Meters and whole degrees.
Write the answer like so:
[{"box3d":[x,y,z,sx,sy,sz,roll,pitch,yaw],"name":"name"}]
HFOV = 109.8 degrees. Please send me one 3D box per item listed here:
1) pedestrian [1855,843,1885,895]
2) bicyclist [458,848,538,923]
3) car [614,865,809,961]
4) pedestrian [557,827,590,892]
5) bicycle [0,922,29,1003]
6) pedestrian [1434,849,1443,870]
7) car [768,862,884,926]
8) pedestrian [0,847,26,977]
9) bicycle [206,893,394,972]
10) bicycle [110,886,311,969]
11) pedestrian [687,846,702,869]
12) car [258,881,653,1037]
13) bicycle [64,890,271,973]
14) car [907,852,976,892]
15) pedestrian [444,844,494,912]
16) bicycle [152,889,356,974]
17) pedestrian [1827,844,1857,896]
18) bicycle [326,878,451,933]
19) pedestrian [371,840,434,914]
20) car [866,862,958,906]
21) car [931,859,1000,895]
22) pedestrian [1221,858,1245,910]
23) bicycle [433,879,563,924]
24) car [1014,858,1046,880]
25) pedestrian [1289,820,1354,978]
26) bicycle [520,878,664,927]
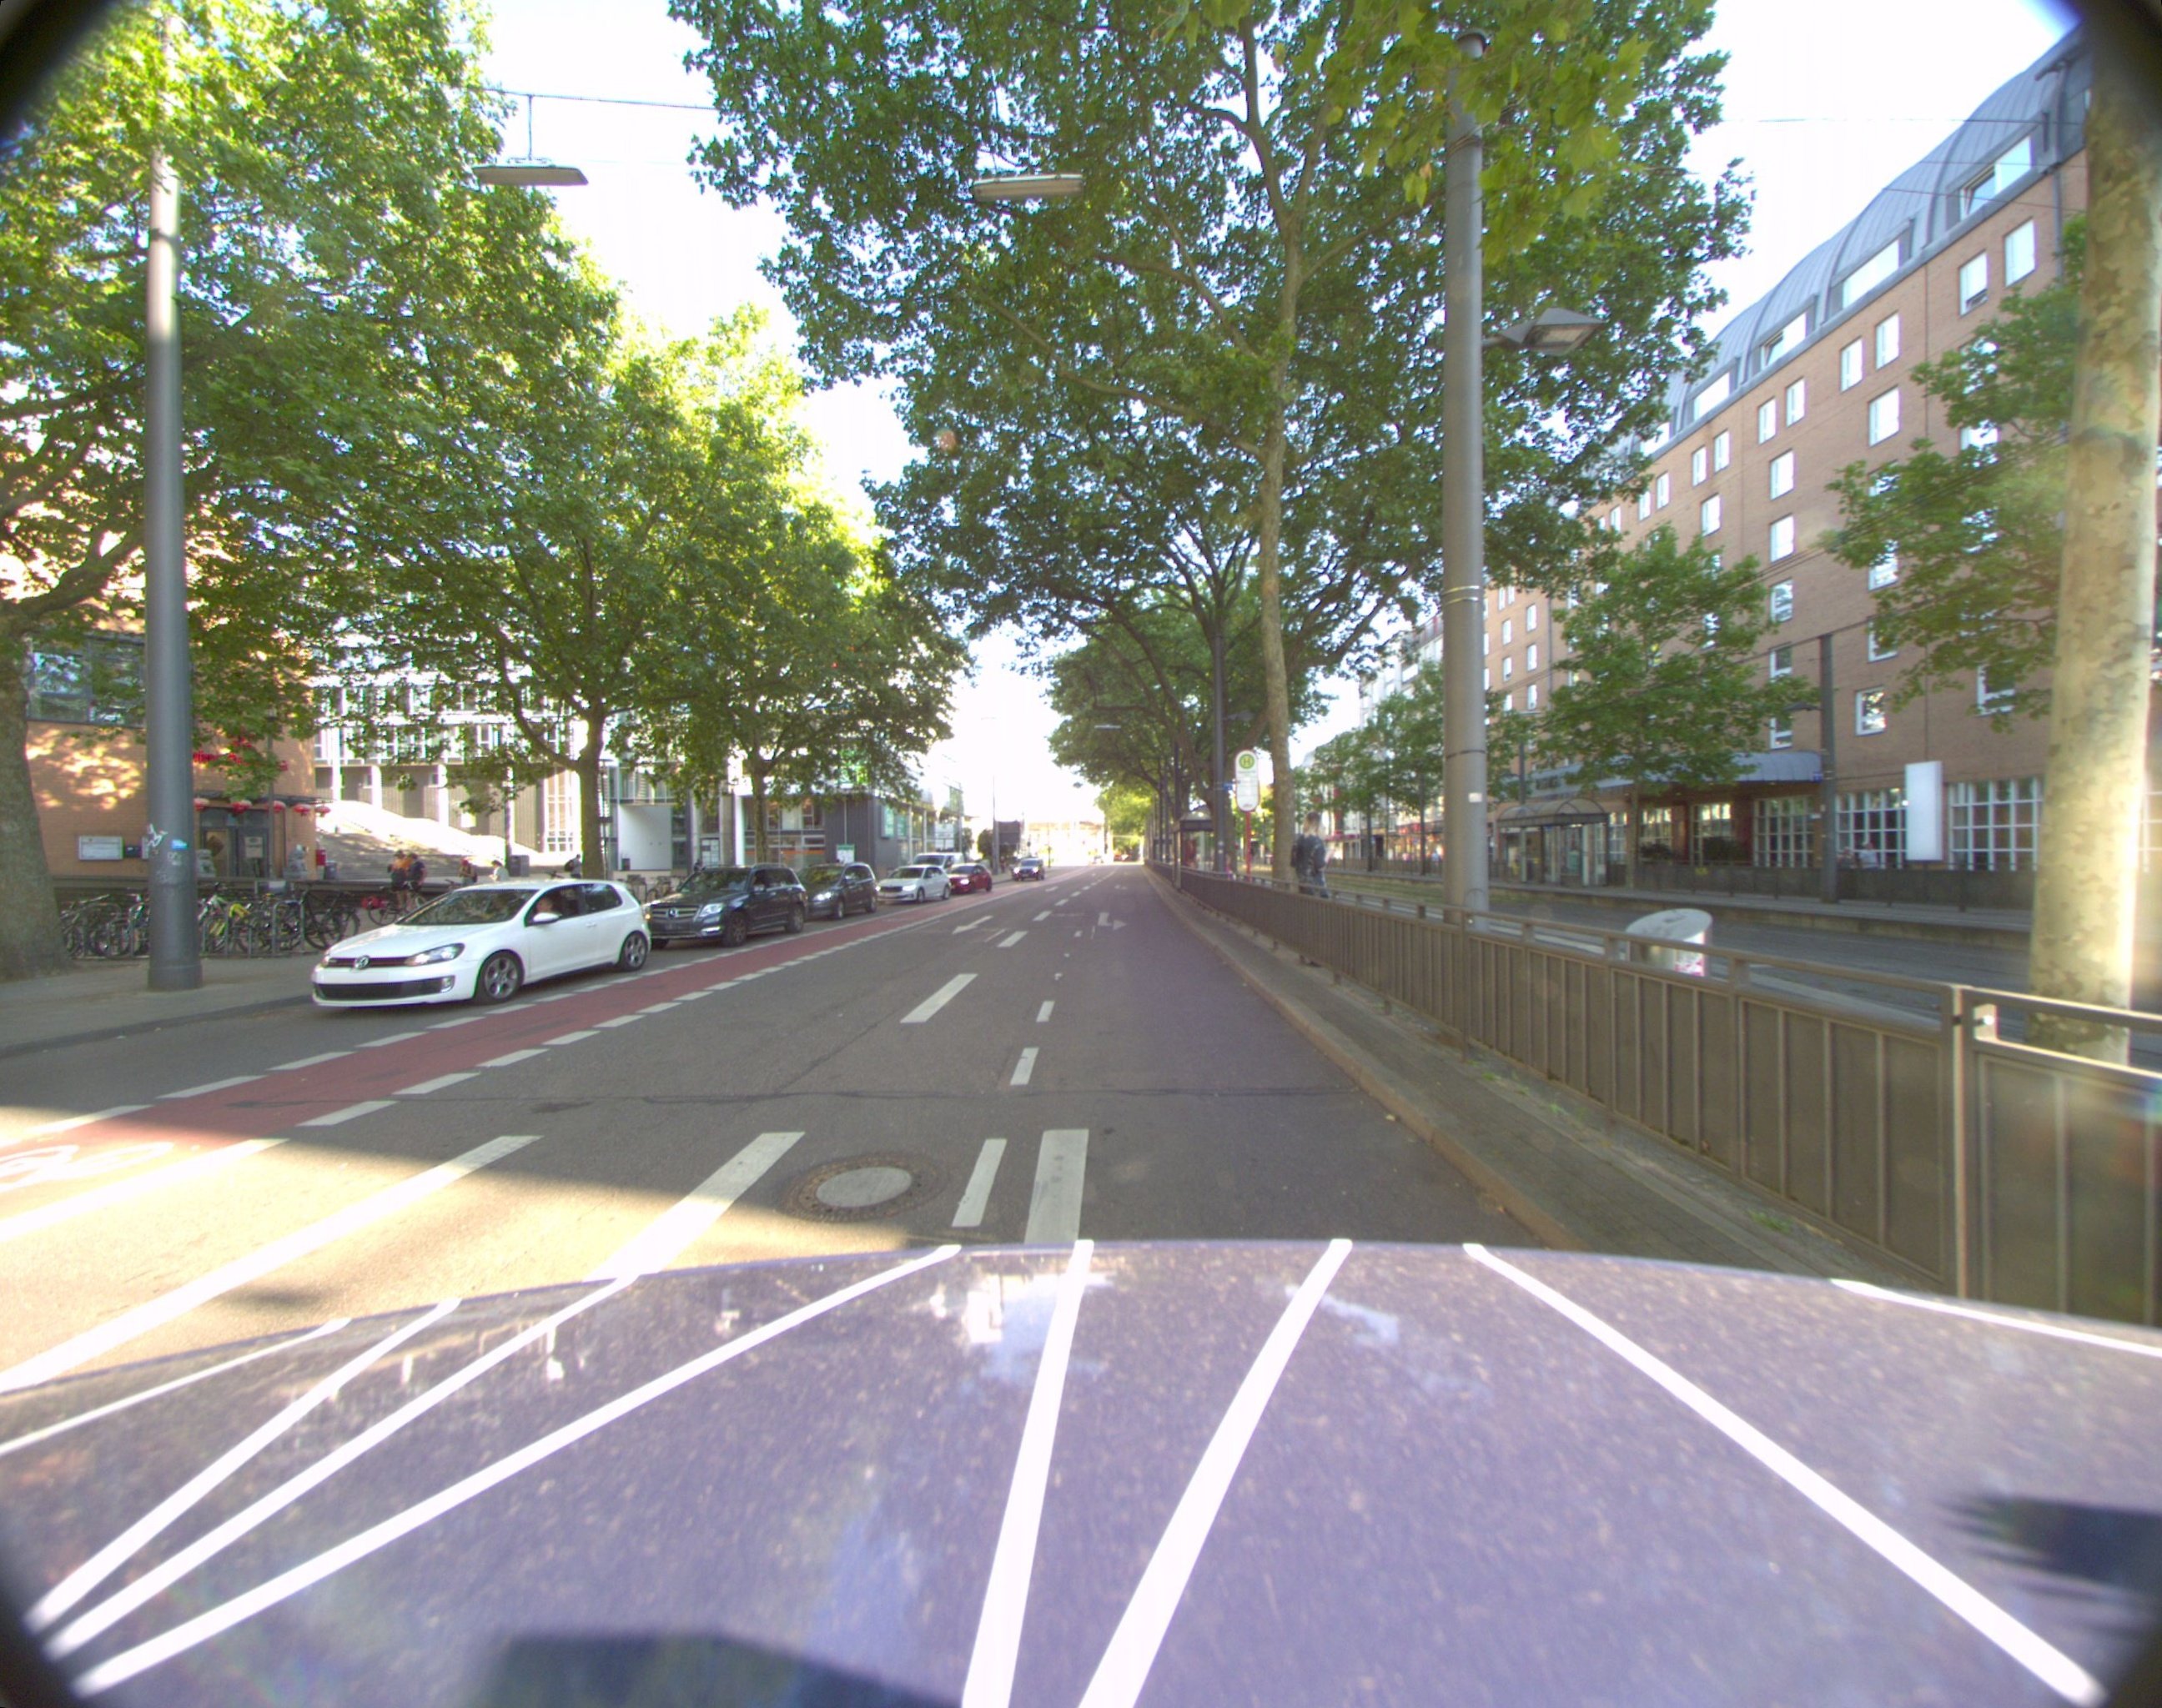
[{"box3d":[26.160,0.498,25.193,0.443,1.725,0.545,0,1,8],"name":"pedestrian"},{"box3d":[-16.125,0.850,21.042,1.296,2.002,1.158,-1,1,17],"name":"bicyclist"},{"box3d":[-7.413,1.093,15.809,1.768,1.626,4.250,-2,0,3],"name":"car"},{"box3d":[-21.066,0.217,31.538,0.981,2.633,0.900,-3,1,-31],"name":"pedestrian"},{"box3d":[-13.385,1.332,7.985,0.925,0.943,2.637,-2,1,1],"name":"bicycle"},{"box3d":[30.723,0.476,65.269,0.504,1.725,0.574,-1,1,3],"name":"pedestrian"},{"box3d":[-7.462,1.092,22.705,1.710,1.626,4.391,-2,0,3],"name":"car"},{"box3d":[-17.078,0.895,11.453,0.934,2.002,1.091,-1,1,-25],"name":"pedestrian"},{"box3d":[-13.112,1.271,12.891,0.682,1.054,2.337,-1,1,2],"name":"bicycle"},{"box3d":[-14.853,1.210,13.093,0.671,1.155,2.305,-2,1,3],"name":"bicycle"},{"box3d":[-35.304,0.322,69.384,0.797,2.002,0.875,-2,1,1],"name":"pedestrian"},{"box3d":[-7.599,1.167,9.847,1.639,1.420,3.987,-2,0,3],"name":"car"},{"box3d":[-15.579,1.271,13.084,0.657,1.155,2.293,-2,1,3],"name":"bicycle"},{"box3d":[-7.329,0.892,40.571,1.932,1.953,5.921,-2,0,6],"name":"car"},{"box3d":[-20.504,0.783,25.465,0.842,2.220,0.905,-2,1,22],"name":"pedestrian"},{"box3d":[-14.045,1.270,13.050,0.751,1.155,2.398,-2,1,2],"name":"bicycle"},{"box3d":[25.361,0.529,25.330,0.479,1.725,0.545,0,1,8],"name":"pedestrian"},{"box3d":[-17.843,1.292,19.705,0.699,1.193,2.700,-2,1,1],"name":"bicycle"},{"box3d":[-21.418,0.712,23.993,1.048,2.235,1.221,-1,1,38],"name":"pedestrian"},{"box3d":[-6.542,1.139,29.878,1.834,1.481,4.199,-2,0,13],"name":"car"},{"box3d":[-5.516,1.075,36.794,1.834,1.481,4.199,-3,0,12],"name":"car"},{"box3d":[3.939,0.771,19.656,0.542,1.310,0.524,-2,1,12],"name":"pedestrian"},{"box3d":[-16.170,1.291,21.070,3.328,1.077,1.150,0,1,18],"name":"bicycle"},{"box3d":[-3.864,1.101,58.256,1.784,1.481,4.196,-3,0,4],"name":"car"},{"box3d":[2.867,0.523,9.087,0.543,1.823,0.524,-2,1,1],"name":"pedestrian"},{"box3d":[-12.901,1.257,20.241,0.975,1.020,3.208,-2,1,23],"name":"bicycle"}]
